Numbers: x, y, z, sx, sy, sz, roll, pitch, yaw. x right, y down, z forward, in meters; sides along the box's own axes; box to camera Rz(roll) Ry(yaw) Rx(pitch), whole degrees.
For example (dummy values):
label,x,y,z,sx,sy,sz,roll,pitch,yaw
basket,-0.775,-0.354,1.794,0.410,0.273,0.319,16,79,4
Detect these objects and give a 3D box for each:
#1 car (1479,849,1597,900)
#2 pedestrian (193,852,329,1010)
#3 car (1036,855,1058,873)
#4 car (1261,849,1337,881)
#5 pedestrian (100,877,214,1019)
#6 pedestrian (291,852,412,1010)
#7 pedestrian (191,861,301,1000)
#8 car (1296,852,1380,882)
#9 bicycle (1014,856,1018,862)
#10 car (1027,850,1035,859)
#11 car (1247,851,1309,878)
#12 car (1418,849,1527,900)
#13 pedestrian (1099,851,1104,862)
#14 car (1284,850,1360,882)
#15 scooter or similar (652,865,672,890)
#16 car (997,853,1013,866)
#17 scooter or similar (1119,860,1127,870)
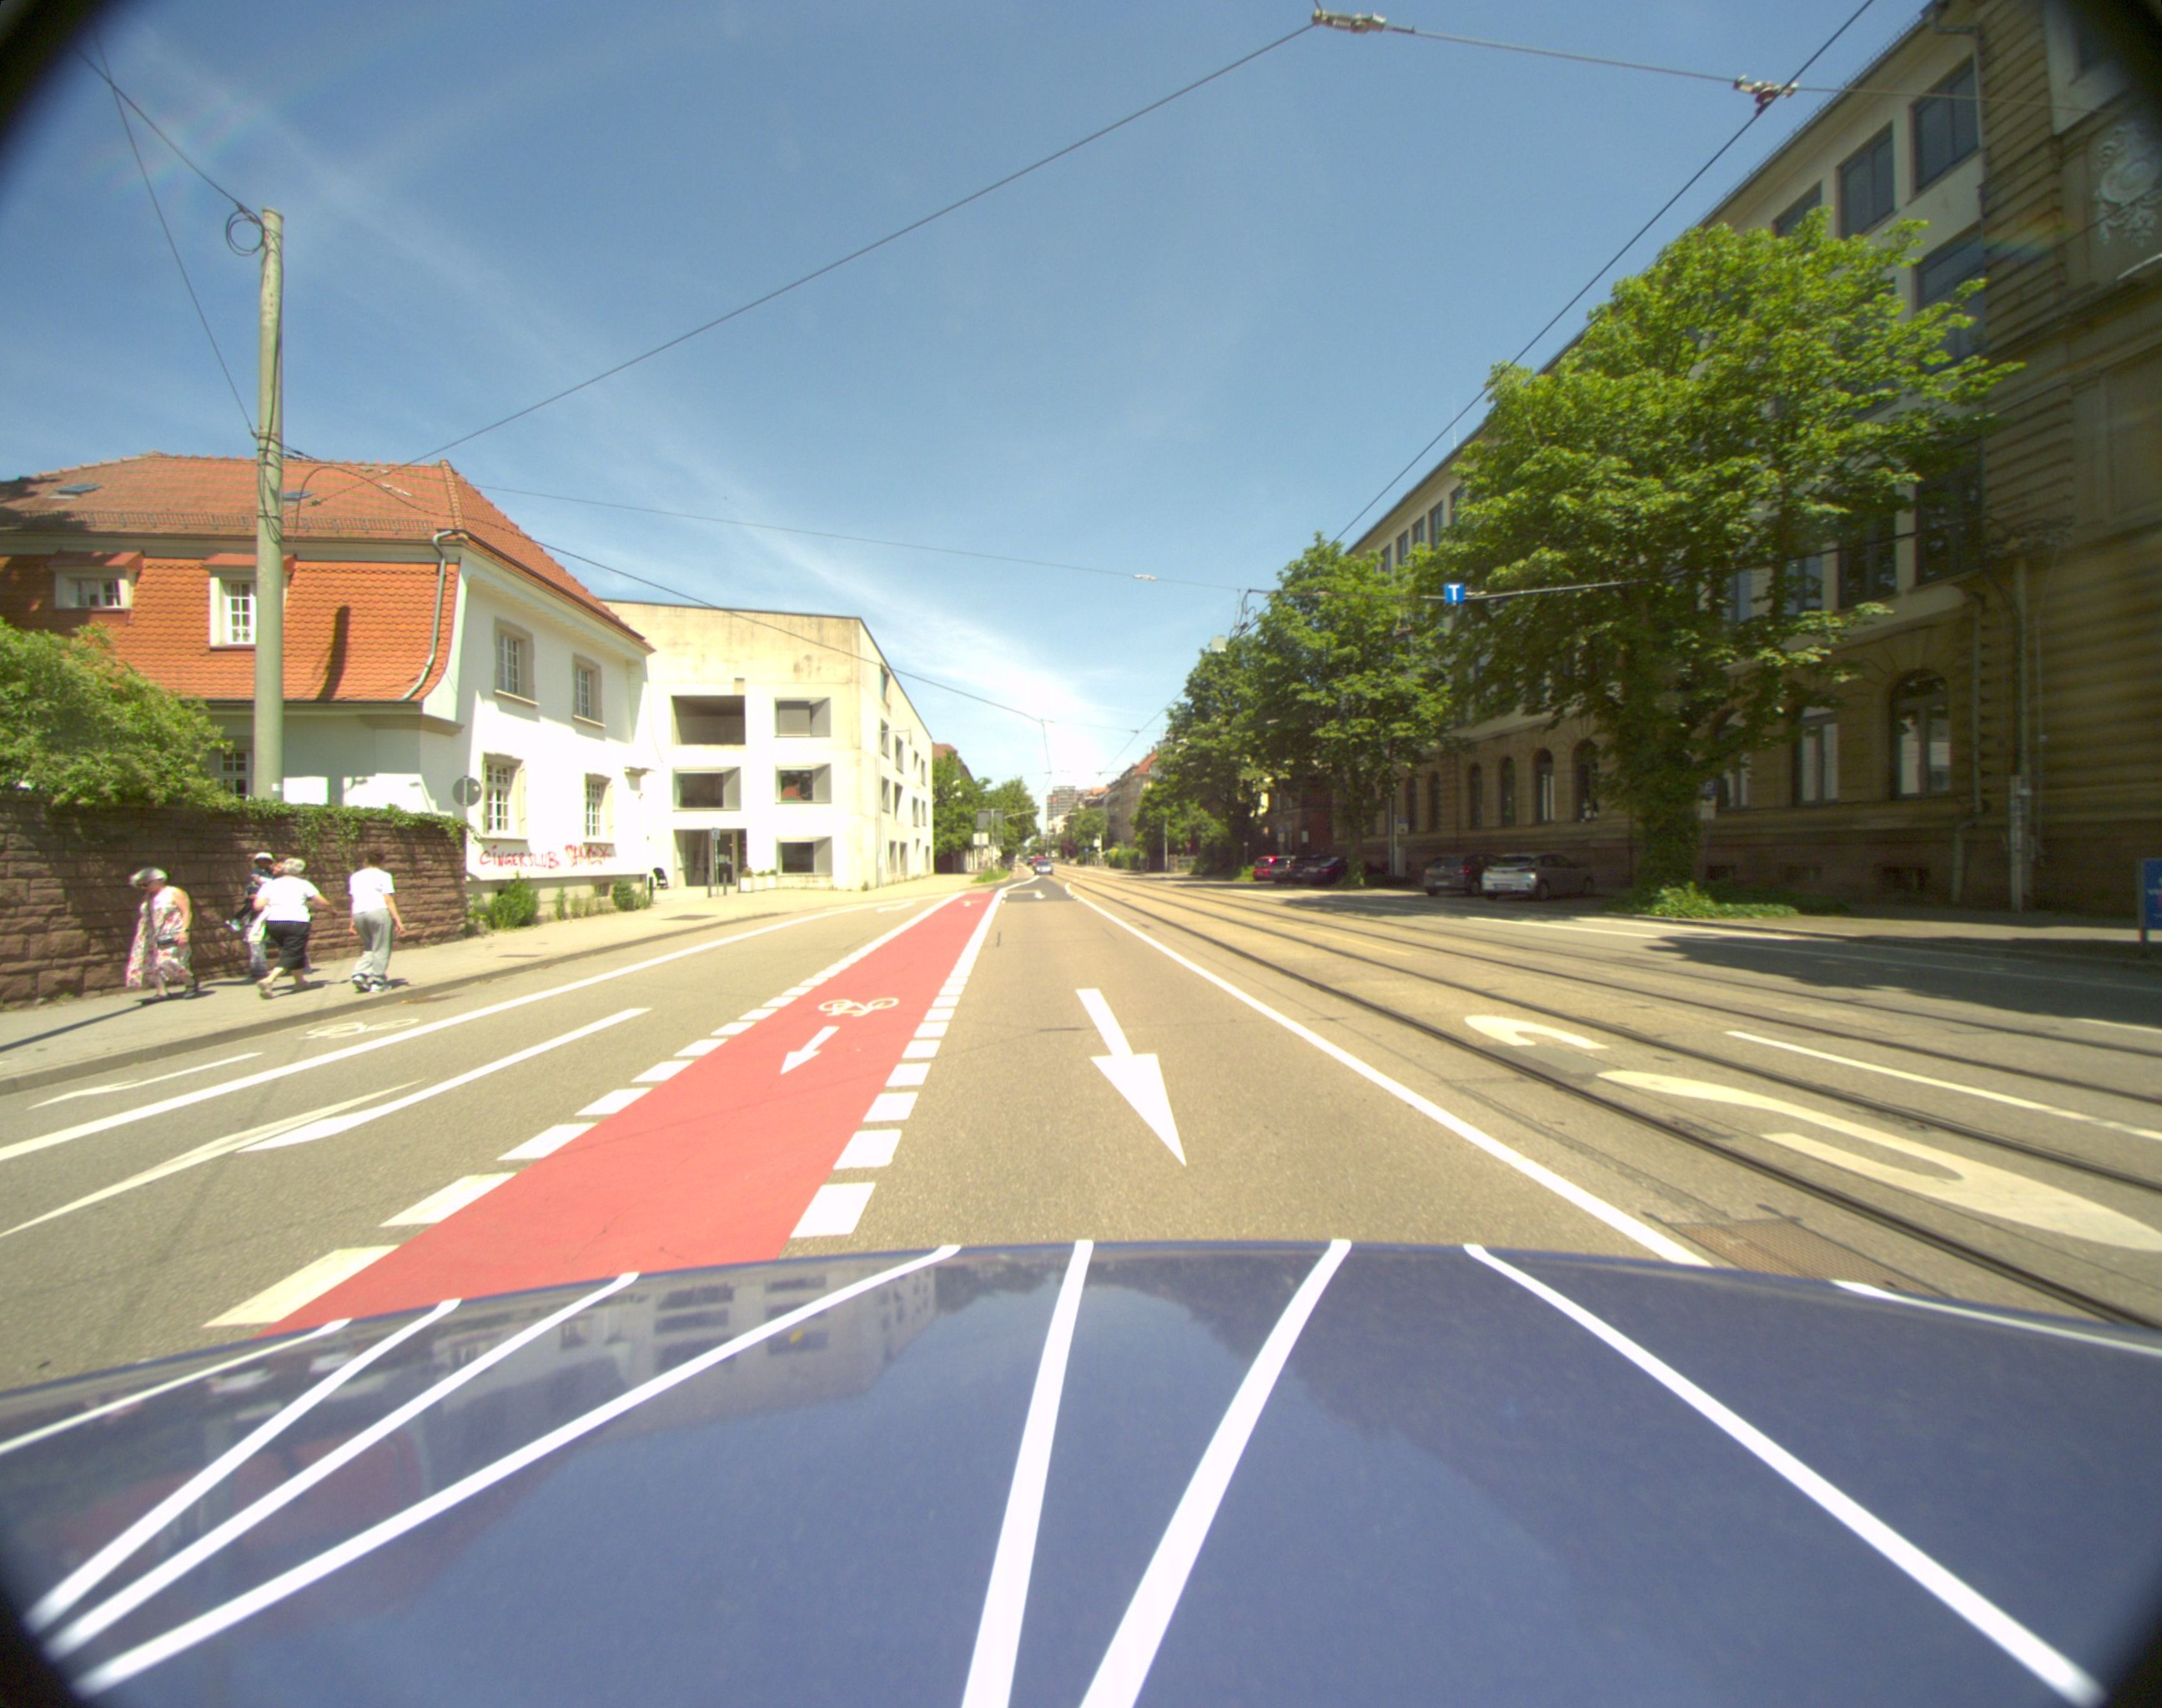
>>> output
label,x,y,z,sx,sy,sz,roll,pitch,yaw
car,14.074,0.590,23.345,3.555,1.398,1.698,-2,1,-33
pedestrian,-9.714,0.883,9.030,0.816,1.797,0.700,-1,1,0
car,-3.242,0.892,72.085,1.894,1.561,4.035,-1,1,-4
car,12.288,0.577,42.690,4.329,1.575,1.665,-3,1,-34
pedestrian,-10.379,1.031,8.555,0.517,1.524,0.597,-1,0,1
pedestrian,-8.684,0.881,9.076,0.679,1.797,0.748,-1,0,0
pedestrian,-10.954,0.974,9.994,0.718,1.763,0.628,0,1,-7
car,12.412,0.587,36.643,3.940,1.366,1.665,-1,0,-30
bicycle,-13.304,0.967,155.310,0.284,1.193,1.625,-2,1,-24
car,-10.478,0.133,160.528,1.620,1.700,3.428,-1,1,-3
car,11.914,0.609,45.959,3.357,1.507,1.665,-2,1,-30
car,13.515,0.663,26.182,3.682,1.511,1.665,-3,1,-33
pedestrian,3.232,0.362,117.876,0.742,1.632,0.939,-1,1,-2
car,12.680,0.593,39.862,3.825,1.567,1.789,-1,0,-34
scooter or similar,-19.986,1.105,36.234,0.534,1.133,0.962,-1,1,-10
car,-9.724,0.650,97.605,1.865,1.568,4.875,-1,0,-4
scooter or similar,5.693,1.495,103.567,1.012,1.442,0.597,-1,2,-5
